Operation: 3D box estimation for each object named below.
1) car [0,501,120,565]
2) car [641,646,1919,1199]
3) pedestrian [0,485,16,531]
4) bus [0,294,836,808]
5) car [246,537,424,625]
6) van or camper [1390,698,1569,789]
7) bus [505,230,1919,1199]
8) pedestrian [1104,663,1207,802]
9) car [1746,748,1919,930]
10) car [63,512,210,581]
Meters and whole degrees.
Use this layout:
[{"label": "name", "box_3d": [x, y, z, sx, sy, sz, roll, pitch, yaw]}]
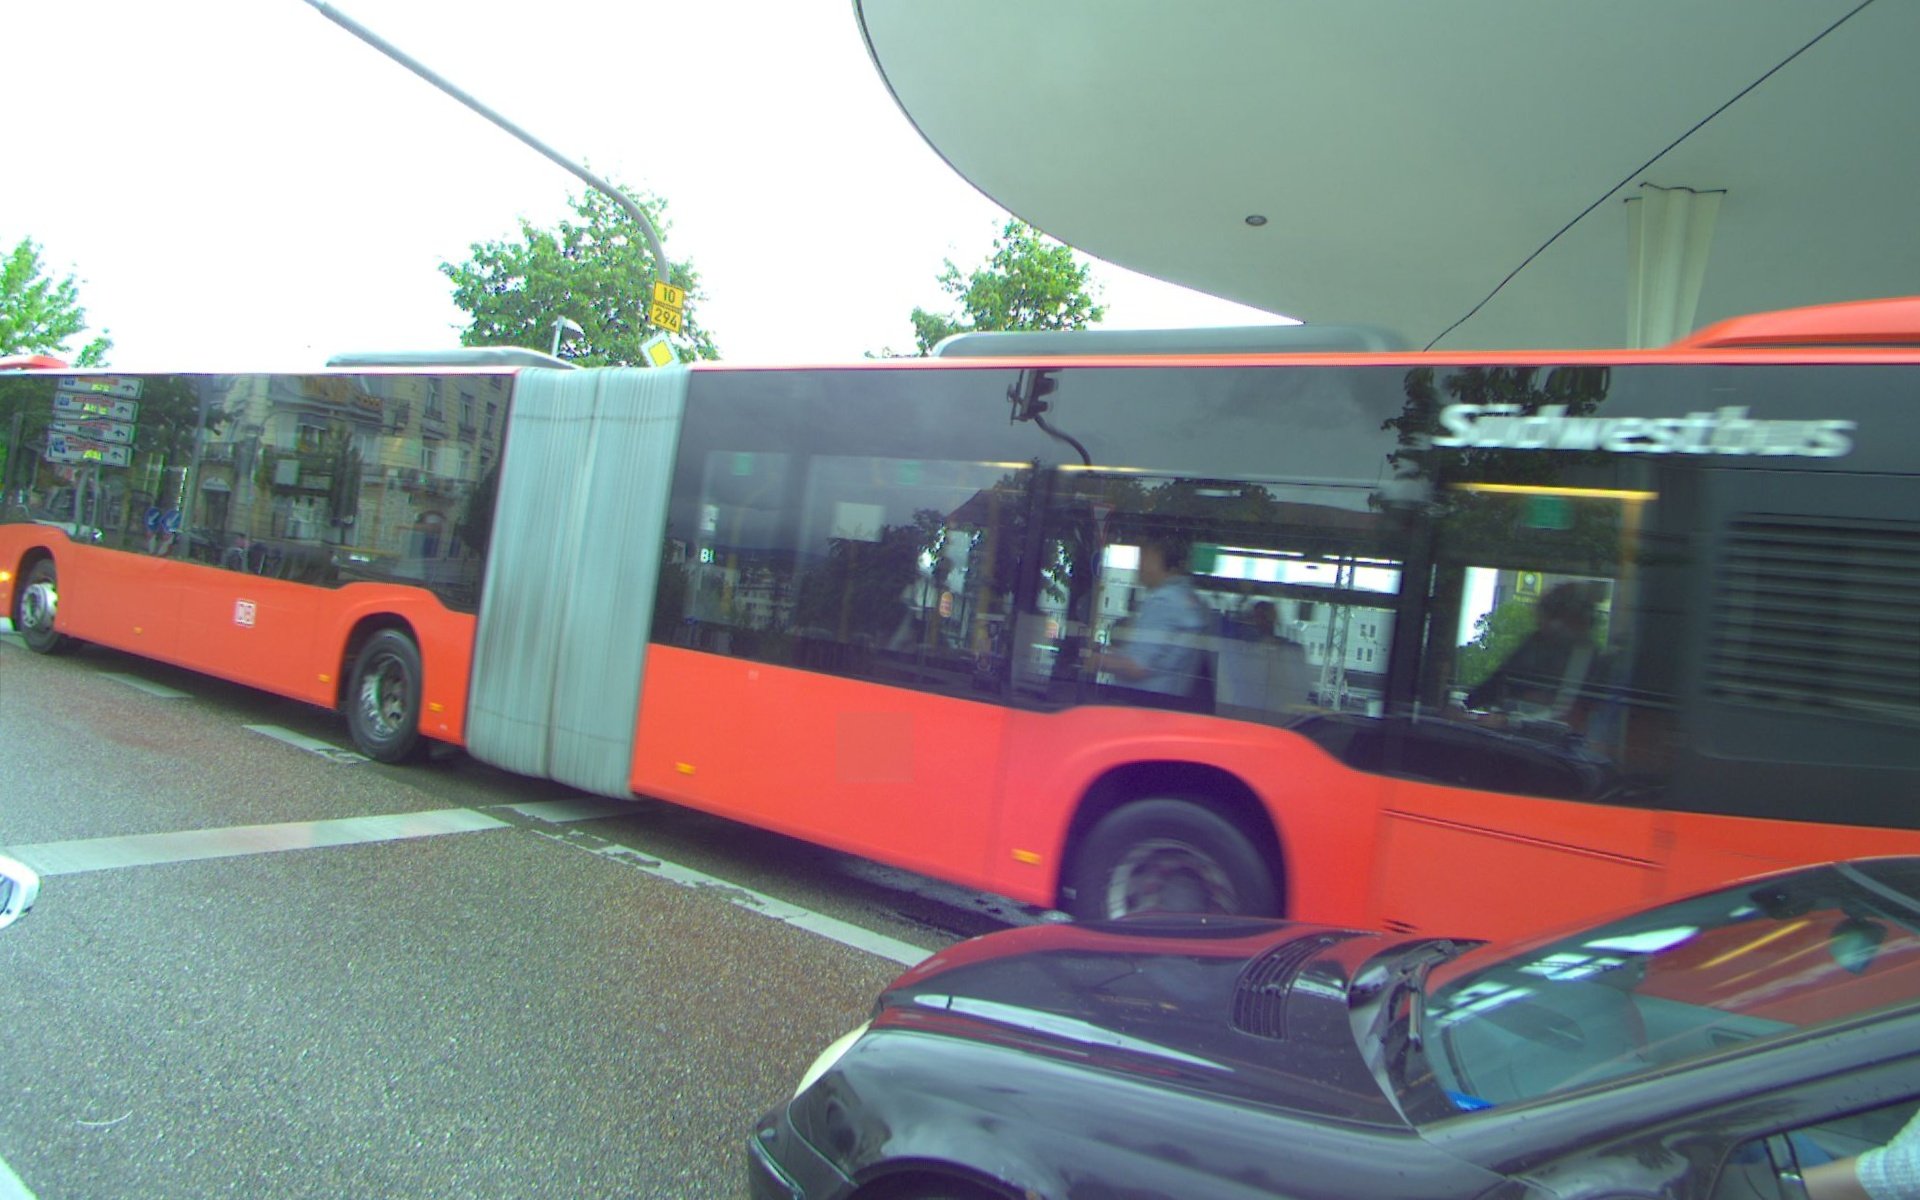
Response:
[{"label": "car", "box_3d": [-31.428, -2.370, 34.536, 4.736, 1.618, 2.000, 7, -2, 25]}, {"label": "car", "box_3d": [1.724, 1.142, 1.498, 4.363, 1.493, 1.753, 5, -7, 32]}, {"label": "pedestrian", "box_3d": [-52.590, -5.074, 55.135, 0.848, 2.439, 0.844, 7, -1, 34]}, {"label": "bus", "box_3d": [-6.274, -0.684, 9.842, 10.019, 3.210, 2.751, 7, -2, 29]}, {"label": "car", "box_3d": [-15.848, -0.503, 25.457, 4.538, 1.608, 1.779, 7, -2, 30]}, {"label": "van or camper", "box_3d": [20.343, 5.549, 39.544, 5.873, 2.491, 2.108, 7, -2, 32]}, {"label": "bus", "box_3d": [1.499, 0.323, 5.499, 7.981, 3.210, 2.750, 7, -2, 29]}, {"label": "pedestrian", "box_3d": [2.173, 1.457, 11.145, 0.753, 1.374, 0.738, 7, -3, 31]}, {"label": "car", "box_3d": [11.238, 2.793, 10.565, 4.360, 1.665, 1.807, 7, -5, 32]}, {"label": "car", "box_3d": [-25.833, -1.694, 31.525, 4.661, 1.542, 1.918, 7, -2, 30]}]
